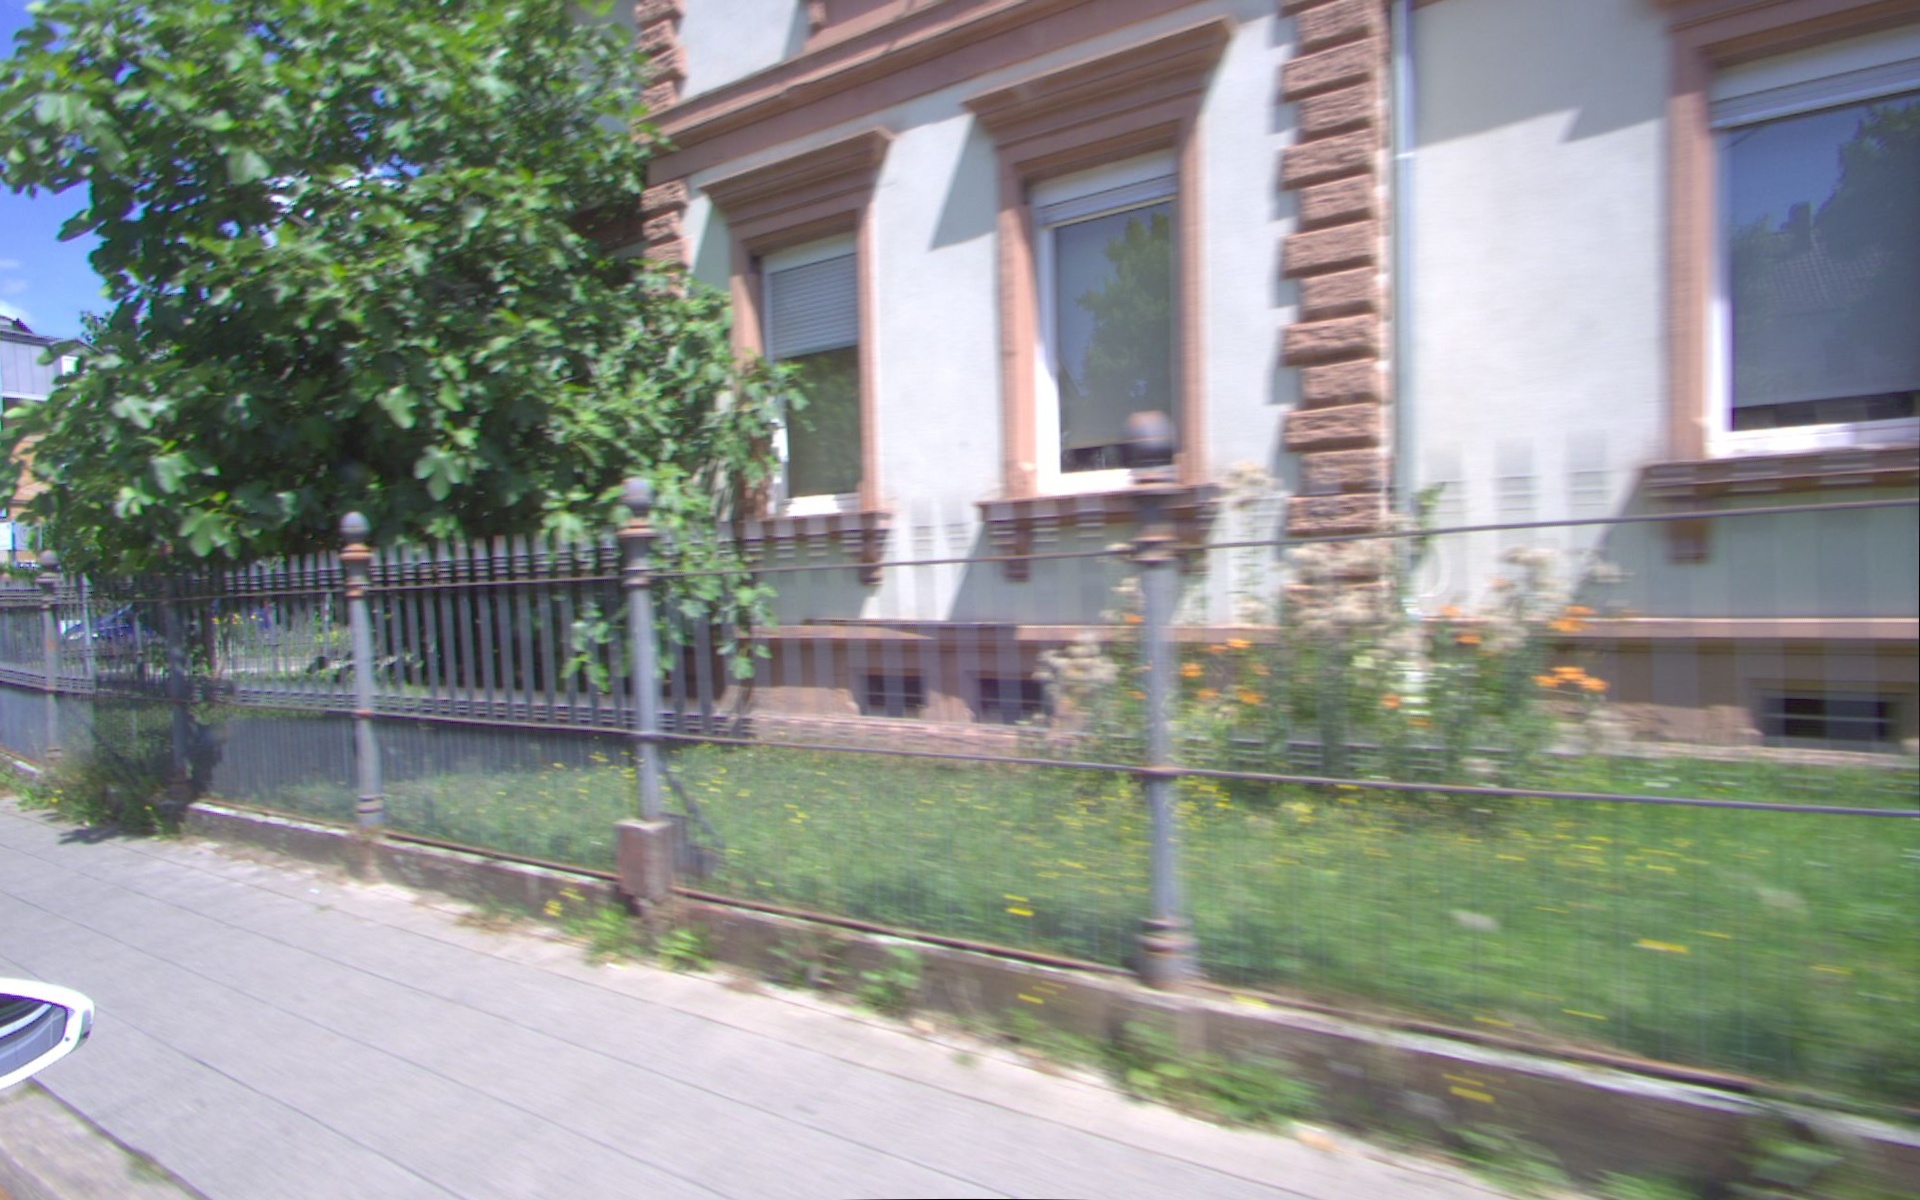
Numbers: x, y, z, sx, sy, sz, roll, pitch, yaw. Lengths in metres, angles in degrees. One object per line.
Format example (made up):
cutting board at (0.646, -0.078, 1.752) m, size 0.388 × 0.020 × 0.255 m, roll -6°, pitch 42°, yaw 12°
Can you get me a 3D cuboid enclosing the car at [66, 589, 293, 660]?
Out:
car at (-23.840, 0.652, 30.775) m, size 2.059 × 1.974 × 5.198 m, roll 1°, pitch 1°, yaw 41°
